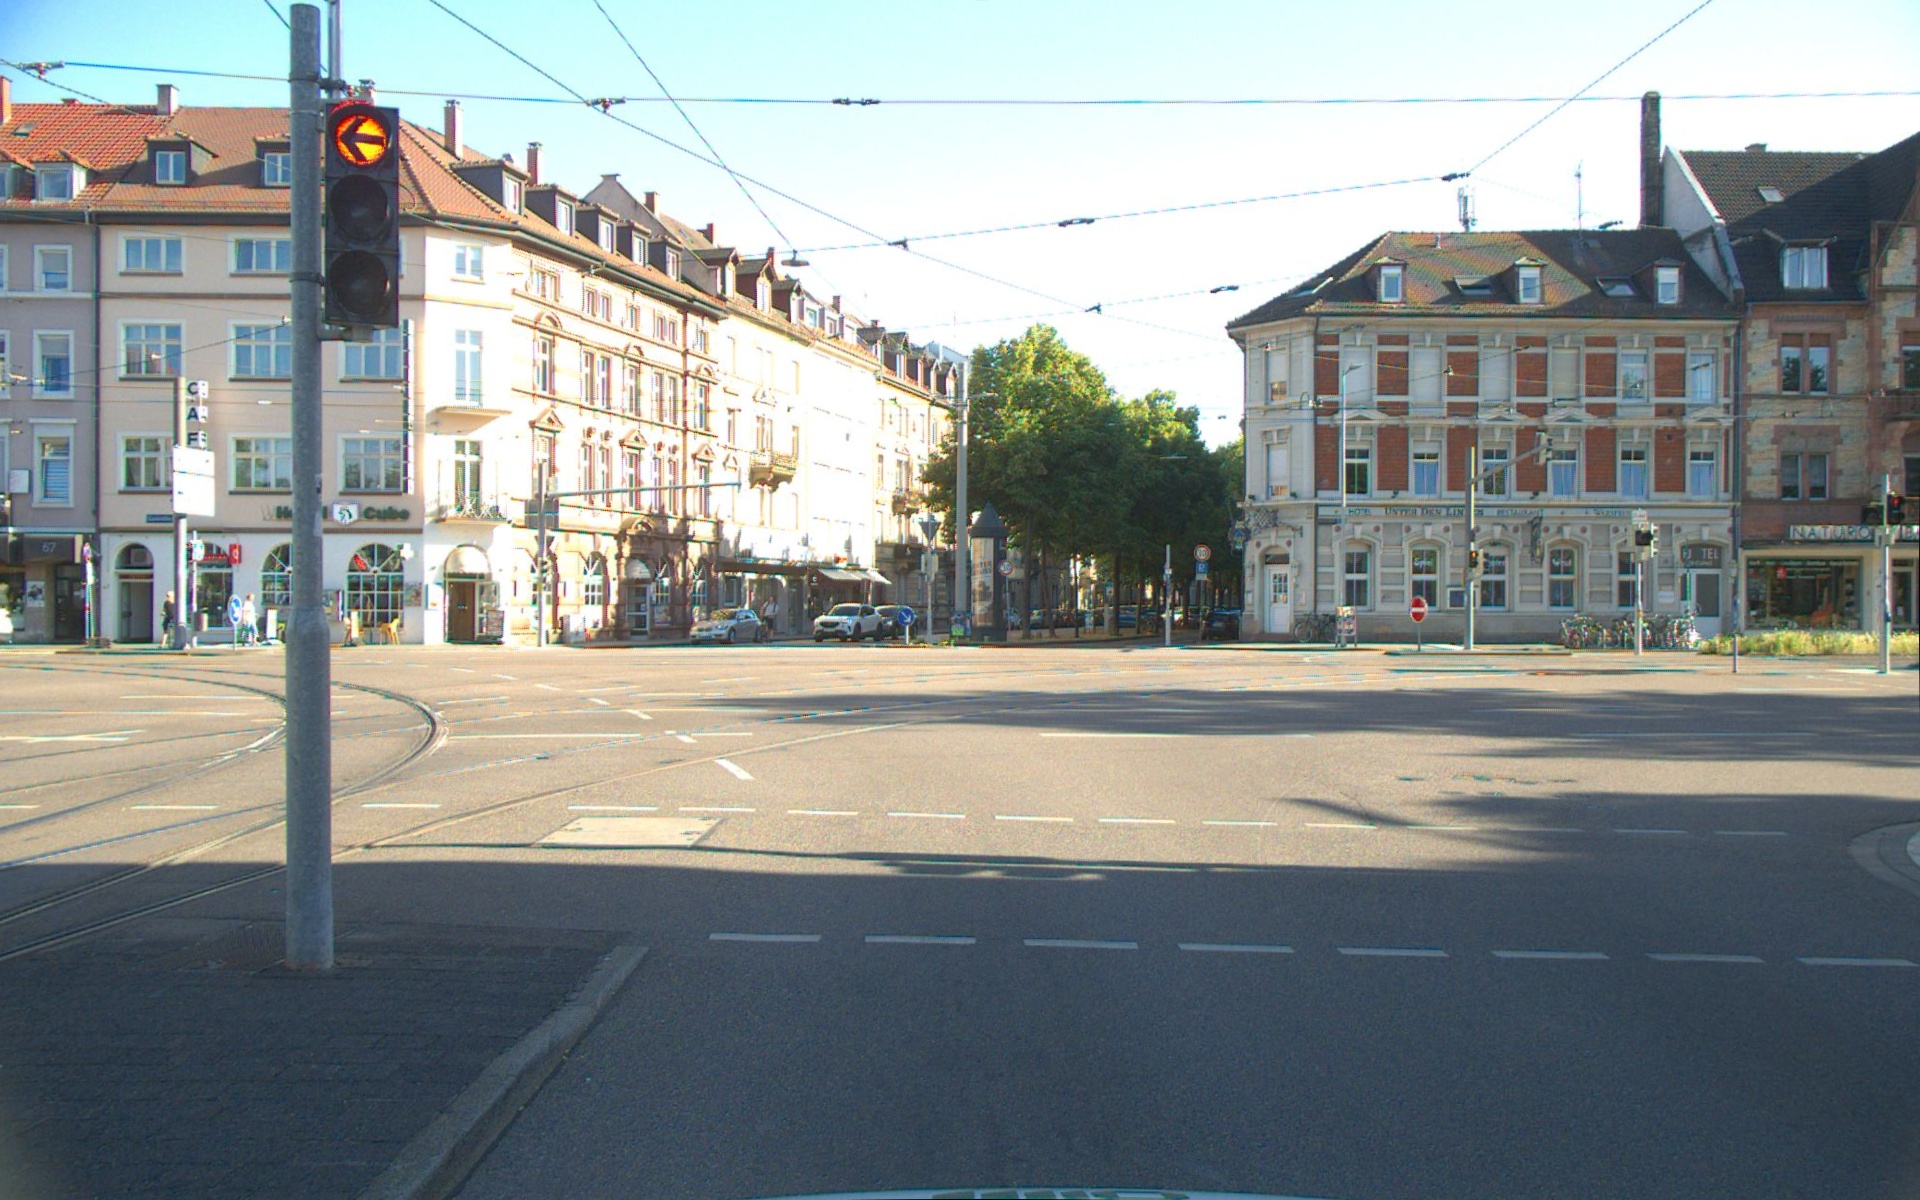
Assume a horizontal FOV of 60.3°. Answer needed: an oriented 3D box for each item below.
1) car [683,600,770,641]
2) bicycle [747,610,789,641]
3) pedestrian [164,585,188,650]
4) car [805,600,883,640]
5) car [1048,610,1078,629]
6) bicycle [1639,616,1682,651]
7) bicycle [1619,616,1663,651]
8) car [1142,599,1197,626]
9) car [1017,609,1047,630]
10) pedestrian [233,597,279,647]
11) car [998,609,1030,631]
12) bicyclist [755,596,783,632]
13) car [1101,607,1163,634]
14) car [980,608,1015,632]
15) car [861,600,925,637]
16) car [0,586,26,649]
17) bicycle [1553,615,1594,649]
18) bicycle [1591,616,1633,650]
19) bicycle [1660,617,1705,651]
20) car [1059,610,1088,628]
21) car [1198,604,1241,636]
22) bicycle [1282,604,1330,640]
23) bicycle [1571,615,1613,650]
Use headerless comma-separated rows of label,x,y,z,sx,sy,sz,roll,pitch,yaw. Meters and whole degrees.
car,-9.449,0.813,67.218,2.052,1.572,4.367,0,0,13
bicycle,-7.573,0.996,65.492,0.734,1.155,2.812,0,0,14
pedestrian,-24.665,0.539,52.032,0.498,2.049,0.505,0,0,2
car,-4.650,0.791,67.077,2.052,1.525,4.003,0,0,13
car,8.245,1.540,131.704,1.704,1.422,4.127,3,0,13
bicycle,22.605,1.076,53.399,0.593,1.069,1.641,0,0,-6
bicycle,21.945,1.065,53.323,0.593,1.069,1.641,0,0,-6
car,16.959,1.016,133.662,4.026,1.952,1.746,3,0,21
car,5.336,1.415,122.837,1.704,1.422,4.127,3,0,9
pedestrian,-22.924,0.715,53.861,1.043,1.618,1.042,0,0,1
car,3.805,1.359,115.837,1.704,1.422,4.127,3,0,9
bicyclist,-7.558,0.544,65.462,0.776,1.399,1.109,0,0,14
car,12.006,1.405,115.382,4.024,1.675,1.748,3,0,15
car,2.527,1.312,110.014,1.704,1.422,4.127,3,0,9
car,-2.958,0.799,73.470,1.951,1.540,4.004,0,0,11
car,-28.103,0.481,44.498,4.751,1.689,1.999,0,0,-3
bicycle,19.826,1.029,53.509,0.593,1.069,1.641,0,0,-6
bicycle,21.119,1.051,53.591,0.593,1.069,1.641,0,0,-6
bicycle,23.331,1.089,53.420,0.593,1.069,1.641,0,0,-6
car,9.422,1.576,136.500,1.704,1.422,4.127,3,0,13
car,12.975,1.006,82.463,1.616,1.551,3.755,0,-1,17
bicycle,11.977,0.767,57.300,1.603,1.243,0.607,0,0,16
bicycle,20.467,1.040,53.565,0.593,1.069,1.641,0,0,-6
